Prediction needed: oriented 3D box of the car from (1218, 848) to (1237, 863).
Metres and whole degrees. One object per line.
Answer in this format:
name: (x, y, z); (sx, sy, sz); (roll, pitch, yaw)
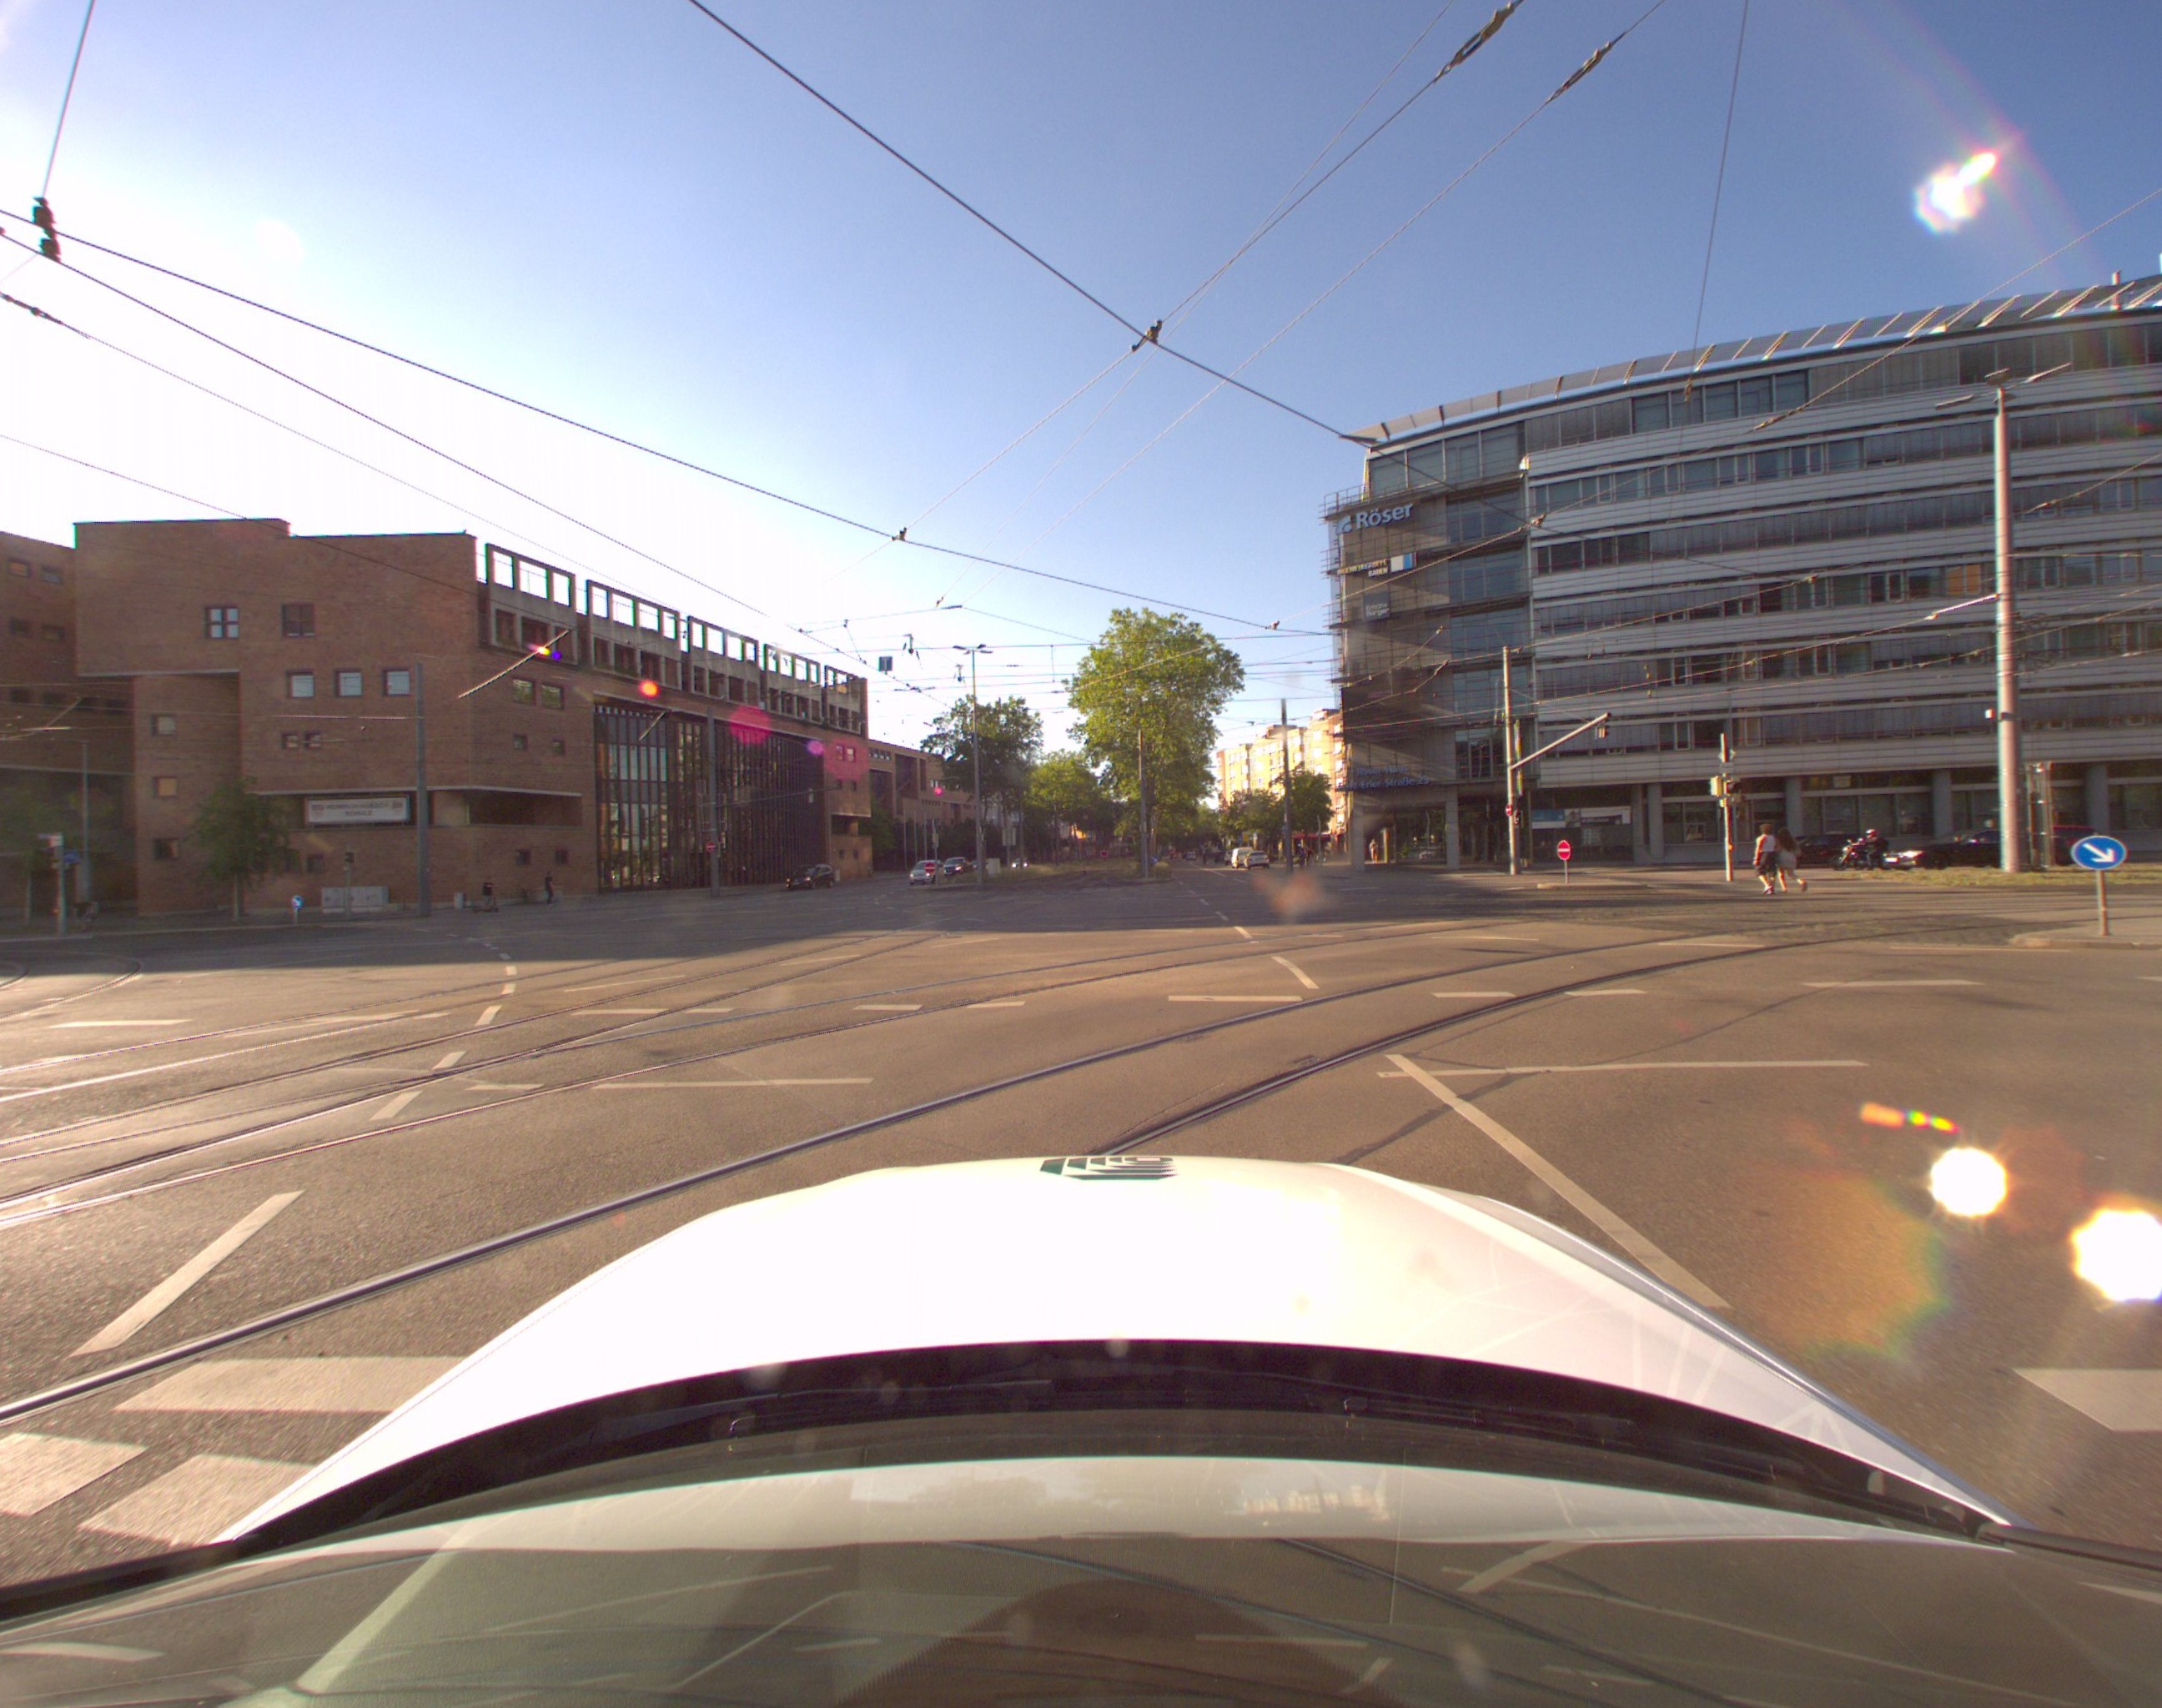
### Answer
car: (16.154, 0.134, 89.775); (1.843, 1.552, 4.334); (-2, 0, 7)

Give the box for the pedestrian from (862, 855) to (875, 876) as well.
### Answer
pedestrian: (-20.646, 1.096, 79.069); (0.888, 2.014, 0.762); (-2, -1, 27)

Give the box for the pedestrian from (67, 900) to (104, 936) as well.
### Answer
pedestrian: (-44.205, 2.828, 36.161); (0.843, 1.538, 0.718); (-2, 0, 11)

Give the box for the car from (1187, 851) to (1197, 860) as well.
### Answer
car: (20.750, 0.231, 152.155); (1.843, 1.552, 4.336); (-2, 0, 9)

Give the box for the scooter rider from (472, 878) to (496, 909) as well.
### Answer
scooter rider: (-28.627, 1.894, 39.054); (0.718, 1.461, 0.507); (-2, 0, -4)

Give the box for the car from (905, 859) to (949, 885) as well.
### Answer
car: (-10.463, 1.175, 55.609); (1.721, 1.597, 4.333); (-2, 0, 6)

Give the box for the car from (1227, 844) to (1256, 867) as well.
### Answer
car: (14.611, 0.132, 74.340); (1.984, 2.013, 4.391); (-2, 0, 5)

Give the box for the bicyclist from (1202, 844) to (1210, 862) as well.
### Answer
bicyclist: (14.507, -0.140, 94.589); (0.746, 2.013, 0.746); (-1, 0, 14)

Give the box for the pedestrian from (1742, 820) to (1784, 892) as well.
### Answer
pedestrian: (17.903, 0.045, 21.402); (0.690, 1.842, 0.973); (-3, -1, 35)

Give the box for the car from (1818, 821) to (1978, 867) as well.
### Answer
car: (31.009, -0.371, 31.053); (3.822, 1.621, 1.913); (-1, 0, 18)

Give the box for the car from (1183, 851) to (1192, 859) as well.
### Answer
car: (24.177, 0.221, 185.189); (1.843, 1.552, 4.336); (-2, 0, 9)

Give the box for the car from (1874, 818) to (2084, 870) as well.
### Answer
car: (30.604, -0.310, 27.940); (4.473, 1.621, 1.913); (-1, 0, 18)

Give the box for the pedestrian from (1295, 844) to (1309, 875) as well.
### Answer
pedestrian: (13.175, 0.344, 48.587); (0.542, 1.824, 0.587); (-2, -1, -10)

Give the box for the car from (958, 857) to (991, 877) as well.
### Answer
car: (-9.275, 1.119, 71.207); (1.844, 1.552, 4.333); (-2, 0, 6)

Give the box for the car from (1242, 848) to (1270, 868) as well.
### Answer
car: (14.484, 0.319, 67.500); (1.843, 1.552, 4.334); (-2, 0, 7)

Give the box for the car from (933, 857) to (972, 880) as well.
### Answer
car: (-9.925, 1.105, 63.127); (1.844, 1.650, 4.333); (-2, 0, 6)

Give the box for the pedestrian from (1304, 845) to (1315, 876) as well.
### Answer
pedestrian: (13.417, 0.377, 47.848); (0.373, 1.824, 0.545); (-2, -1, -10)

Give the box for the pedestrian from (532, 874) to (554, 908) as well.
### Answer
pedestrian: (-28.165, 1.926, 42.618); (0.829, 1.716, 0.656); (-2, -1, -44)

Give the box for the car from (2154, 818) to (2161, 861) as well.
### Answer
car: (41.334, -0.601, 28.751); (3.957, 1.596, 1.636); (-2, -1, 16)

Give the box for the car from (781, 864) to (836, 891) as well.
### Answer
car: (-18.994, 1.588, 57.005); (1.824, 1.654, 4.508); (-3, 0, 6)

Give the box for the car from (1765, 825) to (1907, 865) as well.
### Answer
car: (32.982, -0.389, 35.706); (4.124, 1.621, 1.913); (-1, 0, 18)

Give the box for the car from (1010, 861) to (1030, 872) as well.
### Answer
car: (-7.057, 1.404, 93.803); (1.841, 1.222, 3.986); (-2, 0, -10)

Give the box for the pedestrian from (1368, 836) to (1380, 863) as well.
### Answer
pedestrian: (22.524, -0.349, 62.589); (0.669, 2.013, 0.516); (-2, -1, 8)

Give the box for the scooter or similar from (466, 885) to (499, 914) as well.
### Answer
scooter or similar: (-28.703, 2.173, 39.042); (1.127, 1.318, 0.528); (-2, 0, -5)

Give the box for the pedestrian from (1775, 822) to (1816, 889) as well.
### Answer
pedestrian: (18.463, 0.045, 21.060); (0.639, 1.688, 0.852); (-3, 0, 35)

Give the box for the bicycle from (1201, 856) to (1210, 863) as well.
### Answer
bicycle: (14.475, 0.679, 94.465); (0.812, 0.774, 1.736); (-2, 0, 14)

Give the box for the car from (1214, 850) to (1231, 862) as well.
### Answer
car: (19.334, 0.223, 111.273); (2.249, 1.552, 4.337); (-2, 0, 10)

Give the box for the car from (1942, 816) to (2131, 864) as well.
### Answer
car: (35.013, -0.476, 30.004); (4.124, 1.621, 1.913); (-1, 0, 18)
